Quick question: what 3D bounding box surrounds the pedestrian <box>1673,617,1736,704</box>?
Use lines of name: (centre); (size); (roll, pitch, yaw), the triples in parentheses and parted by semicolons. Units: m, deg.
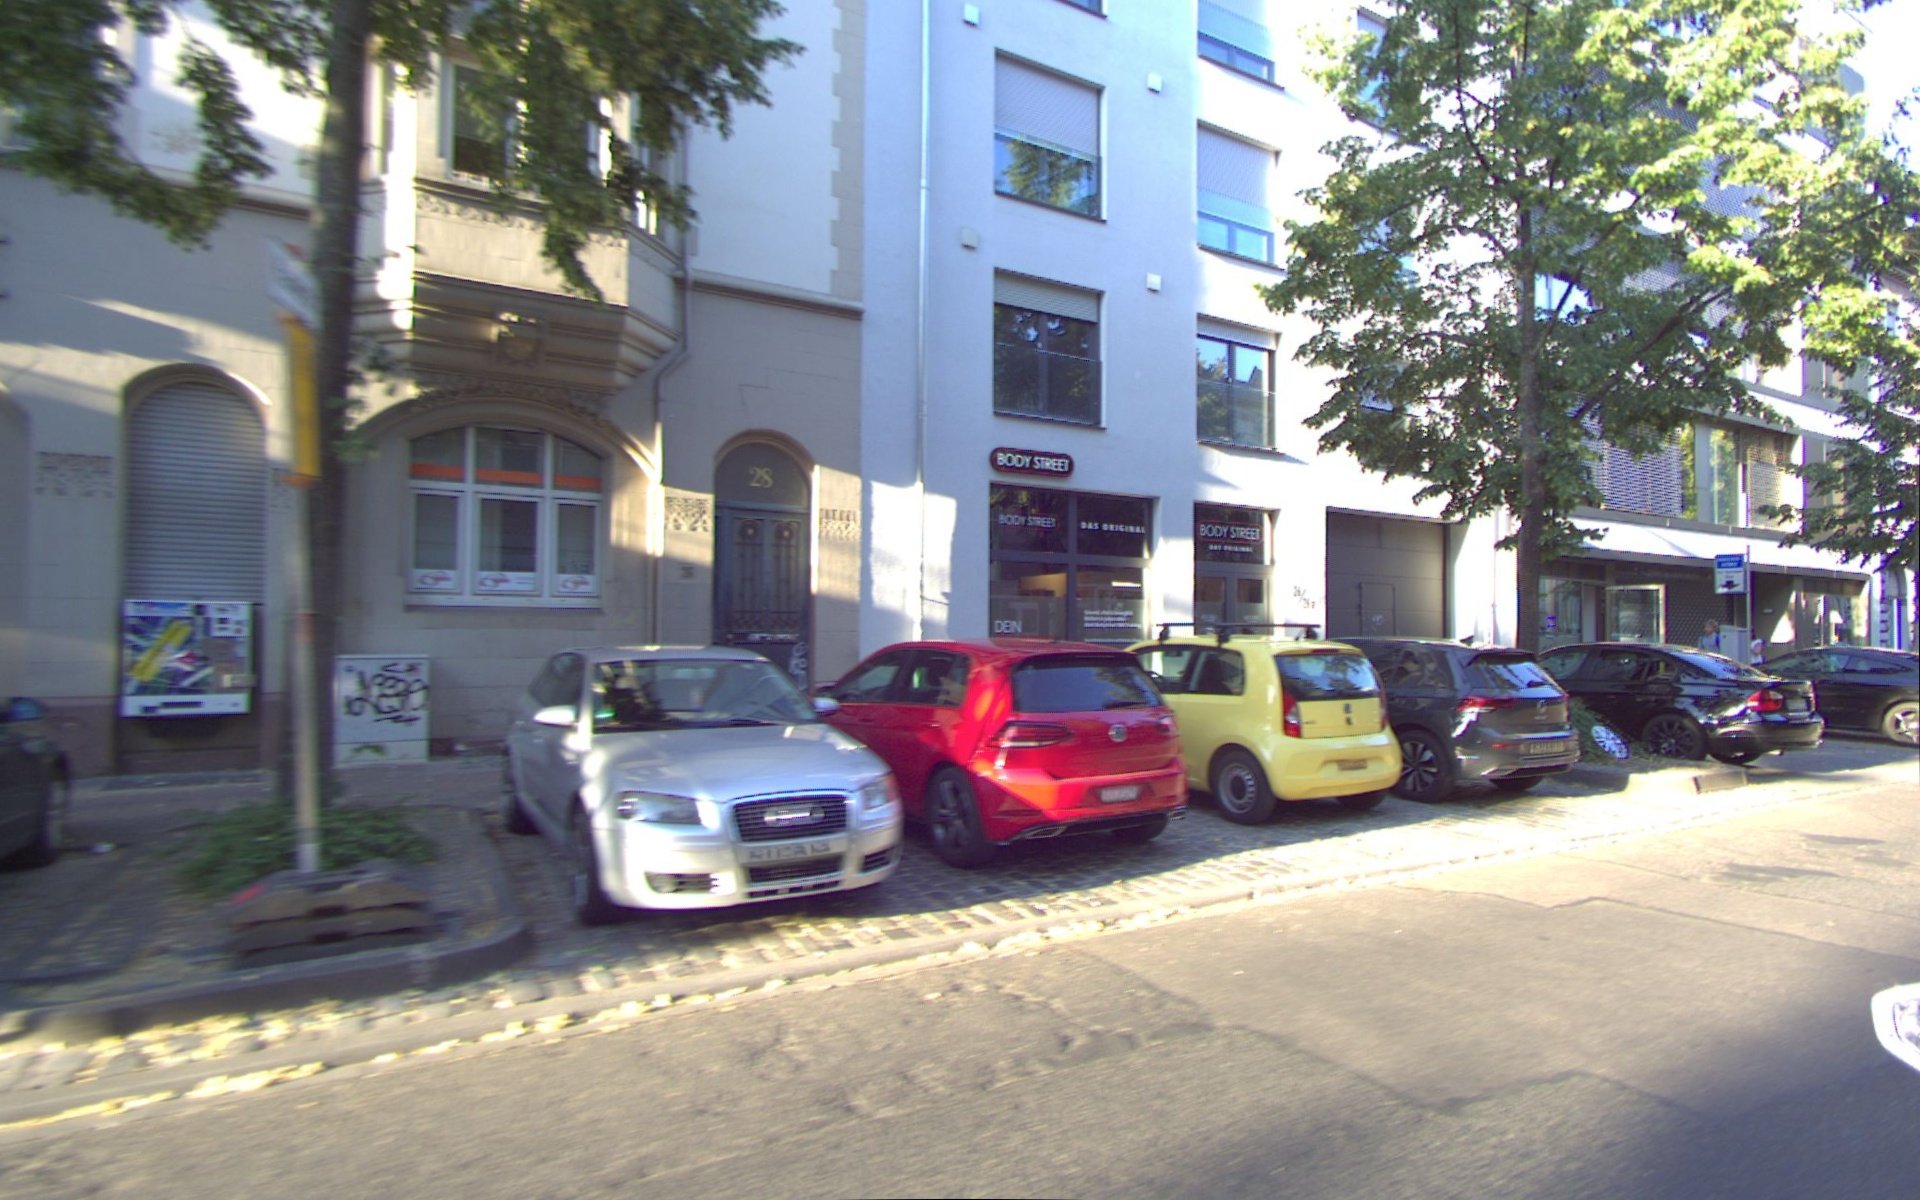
pedestrian: (15.774, 1.259, 21.282); (0.922, 1.773, 0.716); (1, 1, -29)

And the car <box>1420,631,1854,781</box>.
car: (8.266, 1.172, 12.700); (1.725, 1.503, 4.252); (1, -1, -31)

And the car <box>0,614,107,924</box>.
car: (-5.575, 0.858, 4.588); (1.723, 1.557, 4.164); (2, -1, -29)

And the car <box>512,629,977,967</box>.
car: (-1.709, 0.950, 6.660); (1.725, 1.405, 4.017); (1, 0, -33)

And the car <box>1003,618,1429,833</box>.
car: (2.188, 0.980, 9.566); (1.725, 1.588, 3.846); (1, -1, -31)

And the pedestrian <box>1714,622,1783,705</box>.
pedestrian: (16.164, 1.283, 20.597); (1.081, 1.624, 0.716); (1, 1, -30)

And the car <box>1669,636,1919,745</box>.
car: (13.918, 1.355, 15.771); (1.723, 1.503, 4.256); (1, -1, -29)

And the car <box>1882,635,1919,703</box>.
car: (23.009, 1.537, 21.526); (1.726, 1.503, 4.521); (1, -1, -33)

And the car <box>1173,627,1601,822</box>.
car: (4.195, 1.099, 10.458); (1.725, 1.588, 3.846); (1, -1, -31)

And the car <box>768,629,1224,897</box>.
car: (0.015, 0.990, 7.804); (1.725, 1.476, 3.846); (1, -1, -31)
